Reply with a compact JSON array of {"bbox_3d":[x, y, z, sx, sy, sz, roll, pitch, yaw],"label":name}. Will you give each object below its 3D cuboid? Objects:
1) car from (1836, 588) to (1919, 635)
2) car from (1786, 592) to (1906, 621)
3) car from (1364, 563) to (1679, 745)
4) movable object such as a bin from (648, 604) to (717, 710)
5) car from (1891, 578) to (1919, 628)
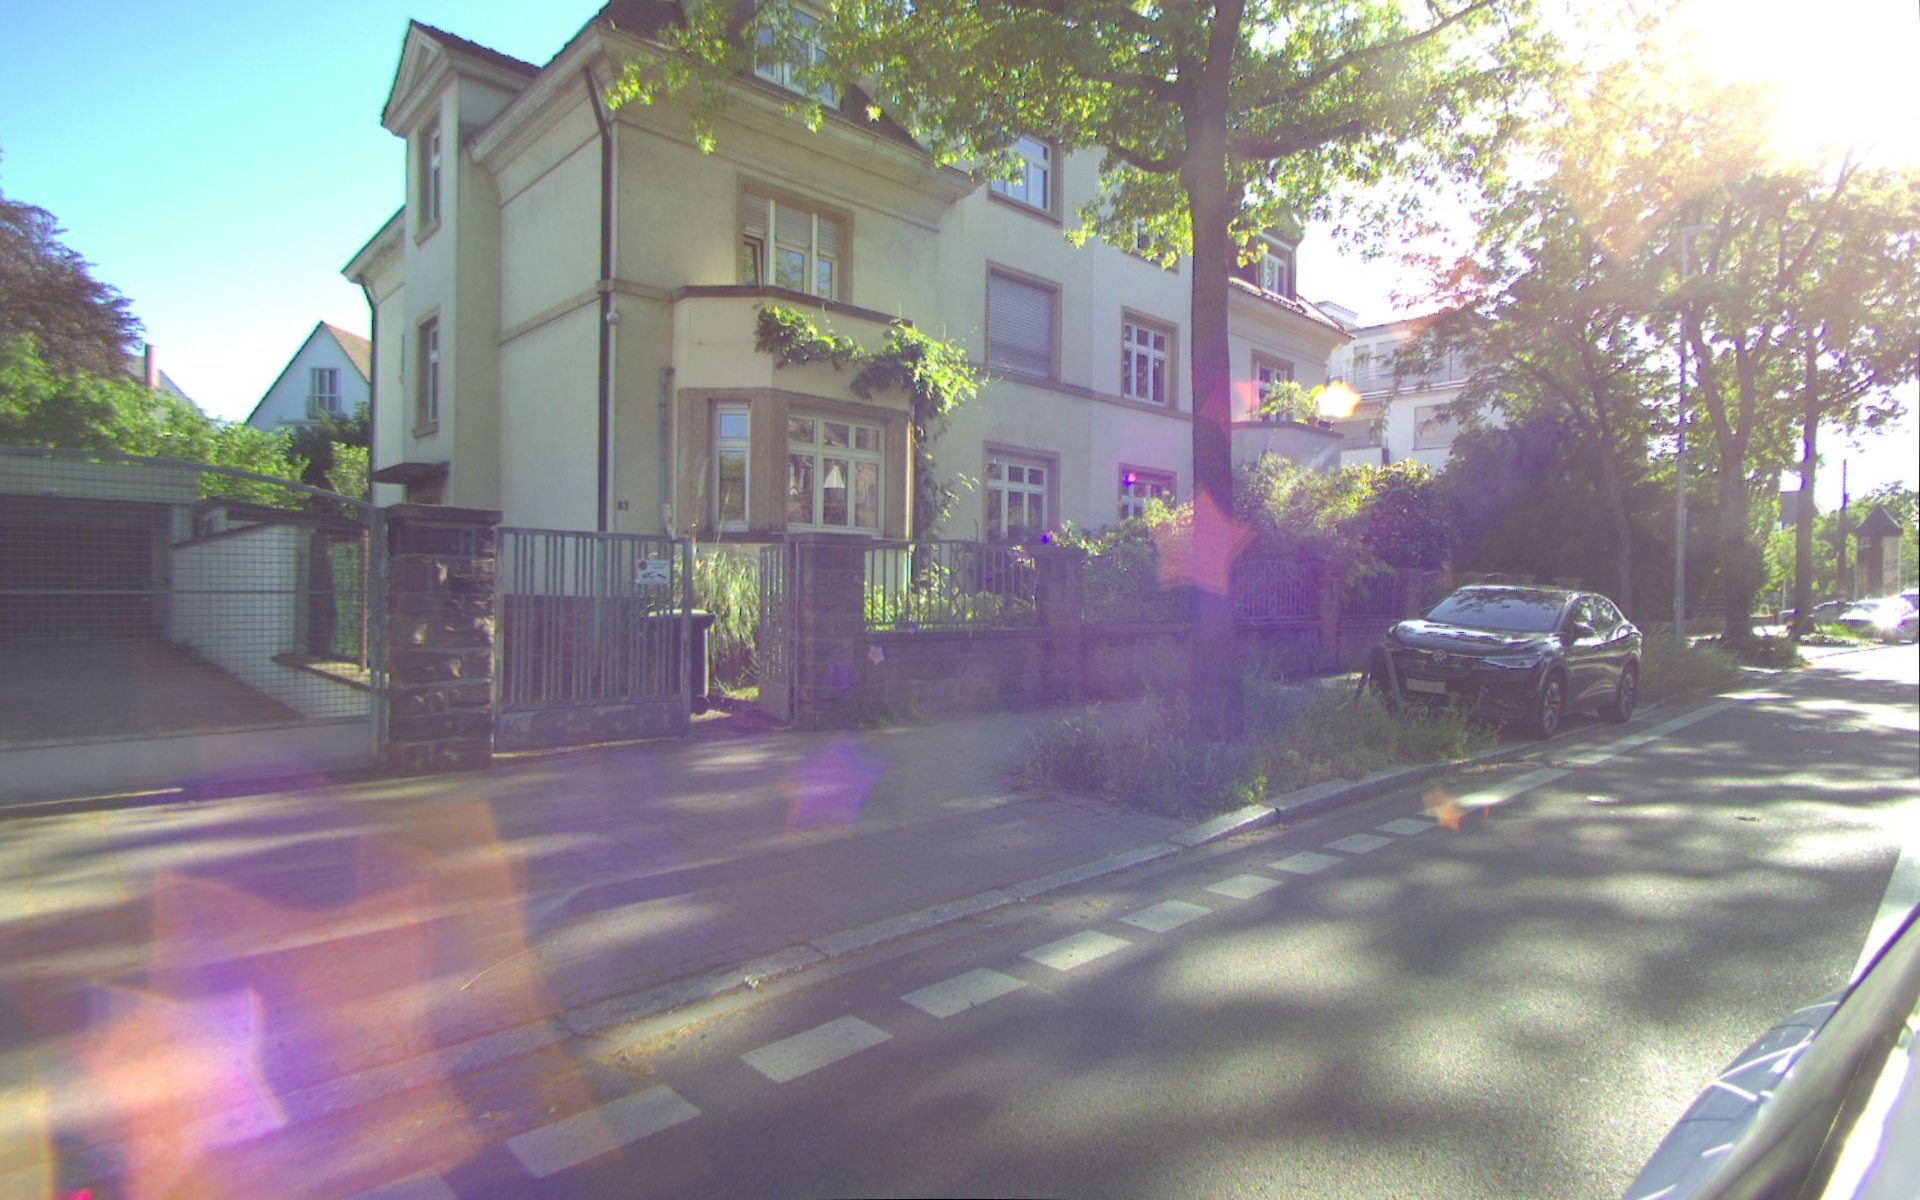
[{"bbox_3d":[31.731,0.341,34.526,4.254,1.440,1.999,-1,2,-38],"label":"car"},{"bbox_3d":[46.670,0.321,53.402,1.934,1.386,4.520,0,1,-40],"label":"car"},{"bbox_3d":[6.912,0.500,12.222,4.647,1.714,1.808,0,5,-42],"label":"car"},{"bbox_3d":[-2.932,0.575,10.667,0.634,1.060,0.659,0,0,-21],"label":"movable object such as a bin"},{"bbox_3d":[36.651,0.123,37.766,4.664,1.768,2.028,0,1,-38],"label":"car"}]
